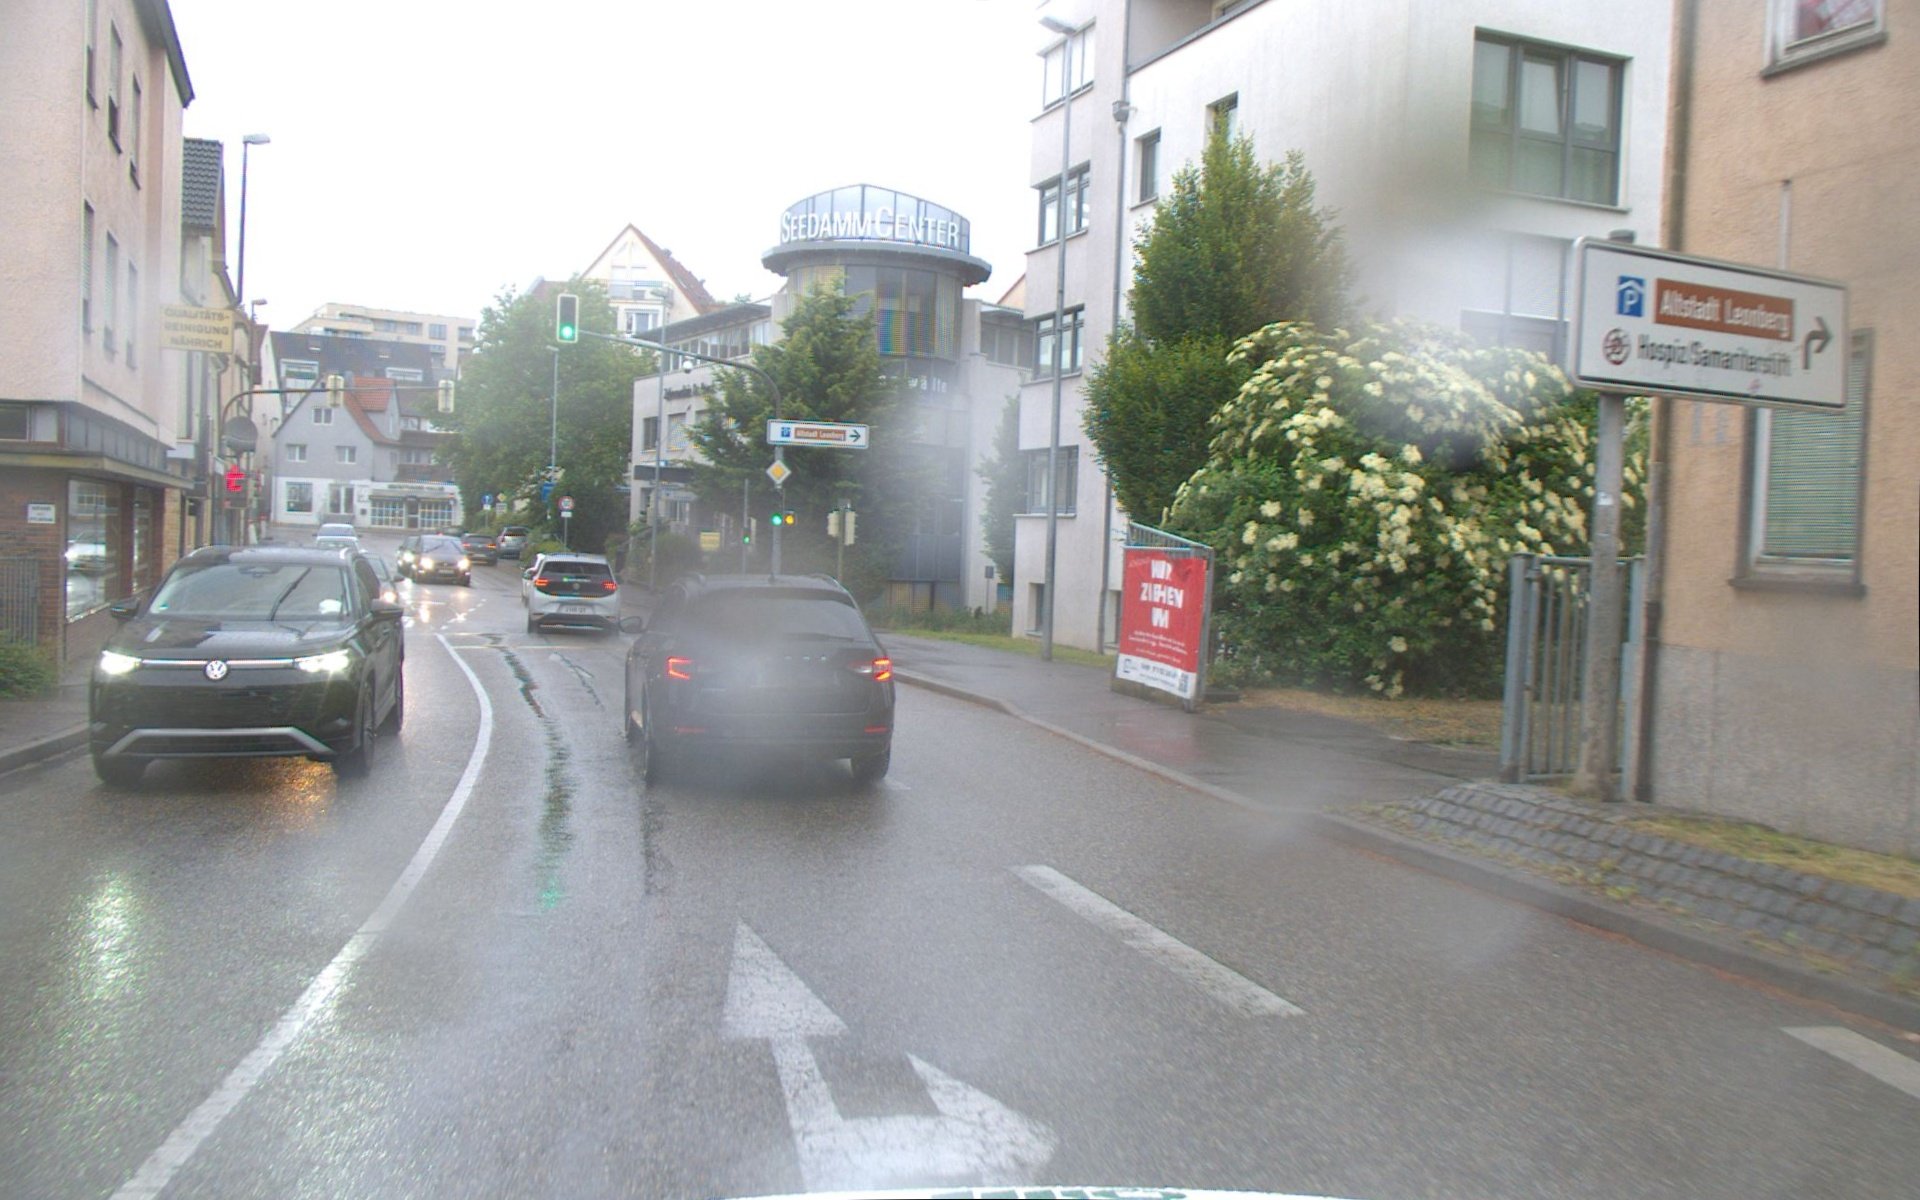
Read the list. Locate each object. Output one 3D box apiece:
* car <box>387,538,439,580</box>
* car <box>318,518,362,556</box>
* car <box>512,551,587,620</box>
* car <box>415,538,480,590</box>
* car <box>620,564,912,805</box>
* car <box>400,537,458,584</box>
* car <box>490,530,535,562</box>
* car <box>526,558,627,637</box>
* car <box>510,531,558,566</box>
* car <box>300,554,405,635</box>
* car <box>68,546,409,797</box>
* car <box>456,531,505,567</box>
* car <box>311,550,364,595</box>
[{"bbox_3d":[-23.074,-1.743,69.741,1.759,1.589,4.374,2,2,-22],"label":"car"},{"bbox_3d":[-27.840,-2.825,74.245,1.760,1.587,4.309,1,3,-22],"label":"car"},{"bbox_3d":[-11.700,-0.443,46.987,1.701,1.617,4.164,3,3,-18],"label":"car"},{"bbox_3d":[-18.061,-1.287,58.194,1.759,1.589,4.374,2,2,-22],"label":"car"},{"bbox_3d":[-1.694,0.507,13.101,1.752,1.509,4.231,-1,2,-14],"label":"car"},{"bbox_3d":[-20.460,-1.540,63.652,1.759,1.589,4.374,2,2,-22],"label":"car"},{"bbox_3d":[-24.131,-2.921,89.133,1.828,1.669,3.843,0,3,-24],"label":"car"},{"bbox_3d":[-7.729,-0.090,33.122,1.788,1.383,3.974,2,2,-15],"label":"car"},{"bbox_3d":[-21.524,-2.607,83.518,1.828,1.669,3.513,0,3,-24],"label":"car"},{"bbox_3d":[-11.599,-0.135,31.445,1.746,1.426,3.892,0,1,-22],"label":"car"},{"bbox_3d":[-5.490,0.418,13.151,1.863,1.623,4.337,-1,1,-16],"label":"car"},{"bbox_3d":[-22.559,-2.390,77.730,1.867,1.618,3.664,0,2,-22],"label":"car"},{"bbox_3d":[-21.464,-0.969,57.047,1.666,1.396,4.089,0,3,-21],"label":"car"}]
